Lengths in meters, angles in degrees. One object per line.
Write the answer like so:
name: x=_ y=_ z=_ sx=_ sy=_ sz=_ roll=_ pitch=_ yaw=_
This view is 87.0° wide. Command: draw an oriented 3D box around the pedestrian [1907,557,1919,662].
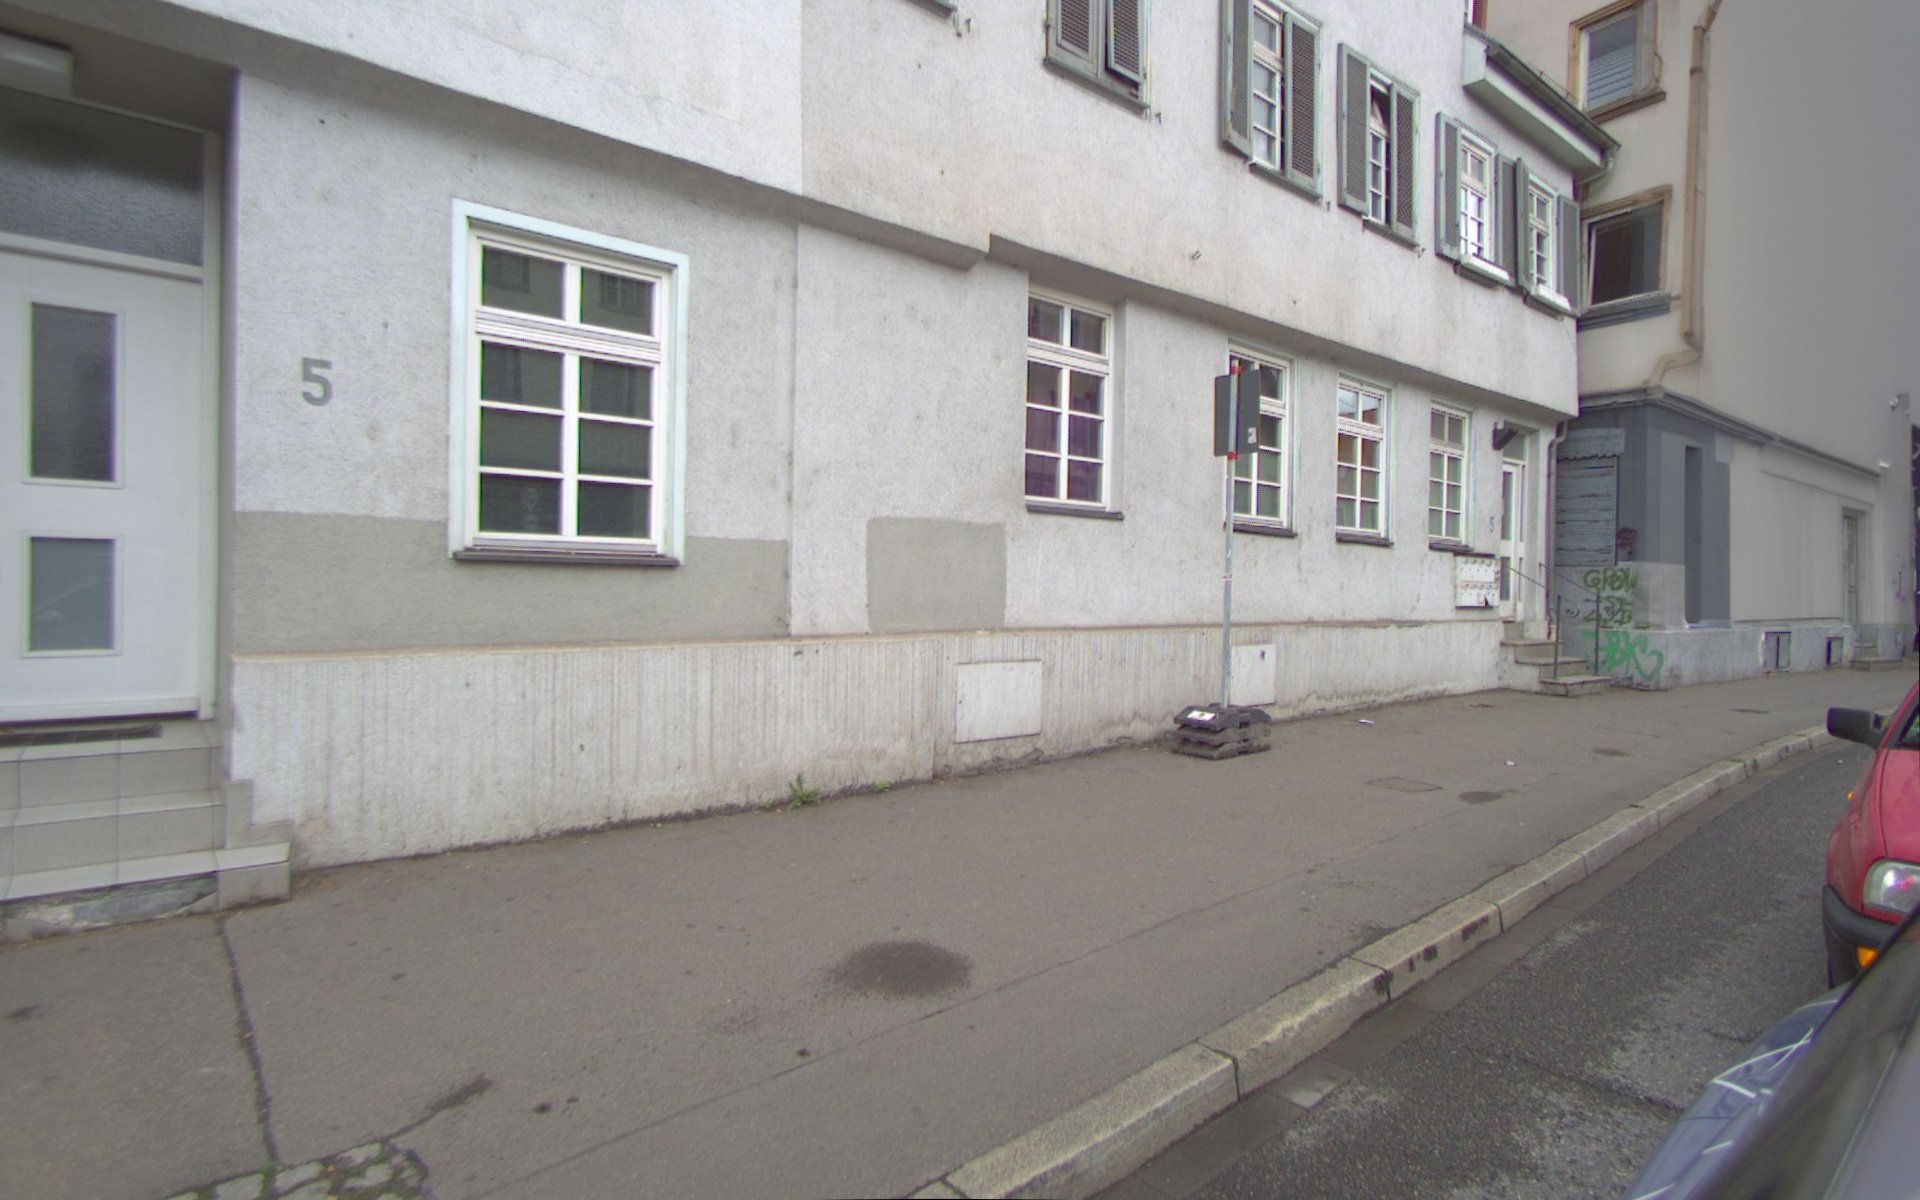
pedestrian: x=15.992 y=0.178 z=16.290 sx=0.792 sy=1.687 sz=0.759 roll=1 pitch=3 yaw=-28

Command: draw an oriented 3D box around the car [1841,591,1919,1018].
car: x=5.167 y=0.714 z=4.243 sx=3.951 sy=1.445 sz=1.684 roll=0 pitch=1 yaw=-41
